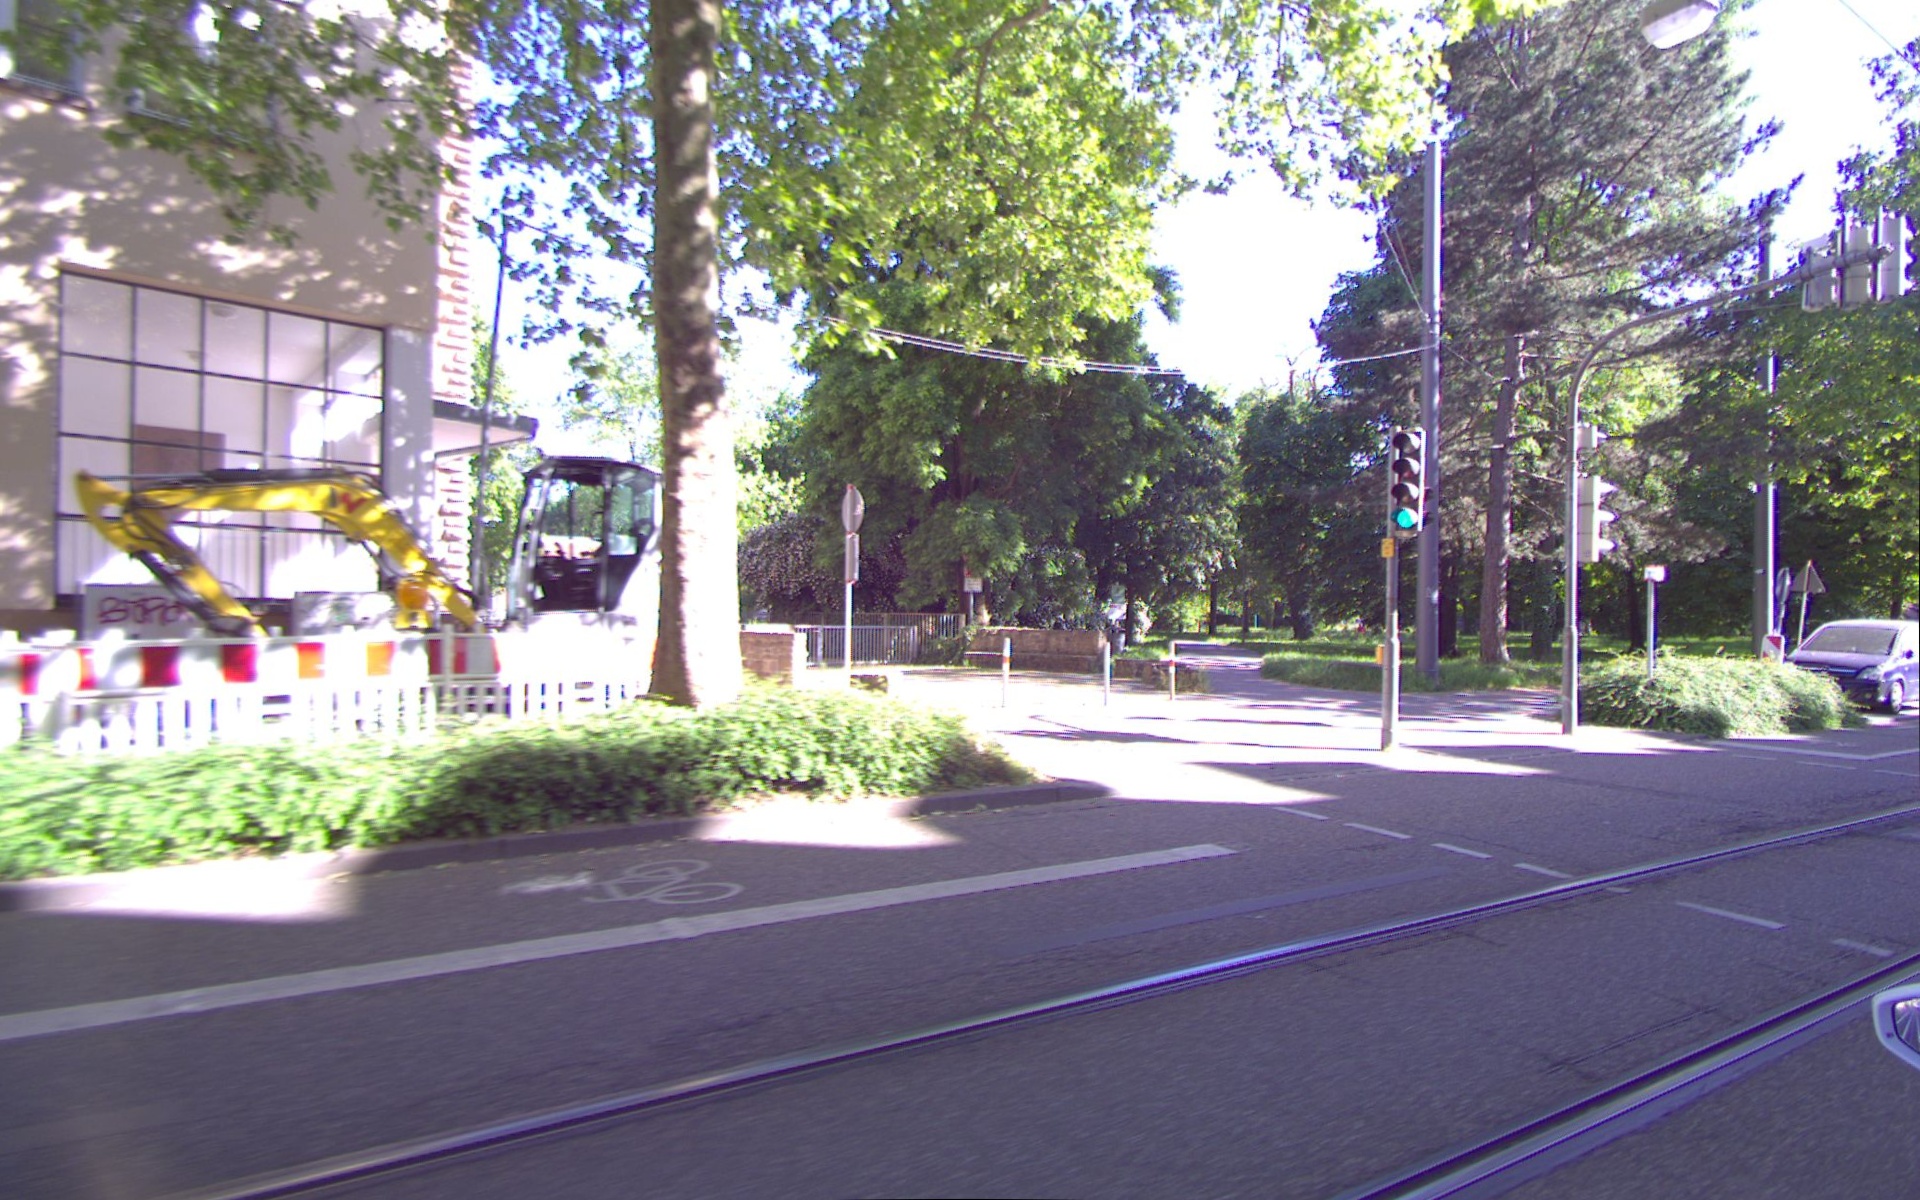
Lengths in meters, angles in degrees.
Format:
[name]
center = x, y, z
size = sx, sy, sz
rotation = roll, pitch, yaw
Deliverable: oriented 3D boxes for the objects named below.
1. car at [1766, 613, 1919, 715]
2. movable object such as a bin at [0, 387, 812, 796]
[car]
center = 16.846, 1.153, 18.659
size = 3.715, 1.681, 1.539
rotation = 2, 1, -28
[movable object such as a bin]
center = -4.613, -0.025, 9.197
size = 5.926, 2.681, 2.480
rotation = 1, 1, -34
